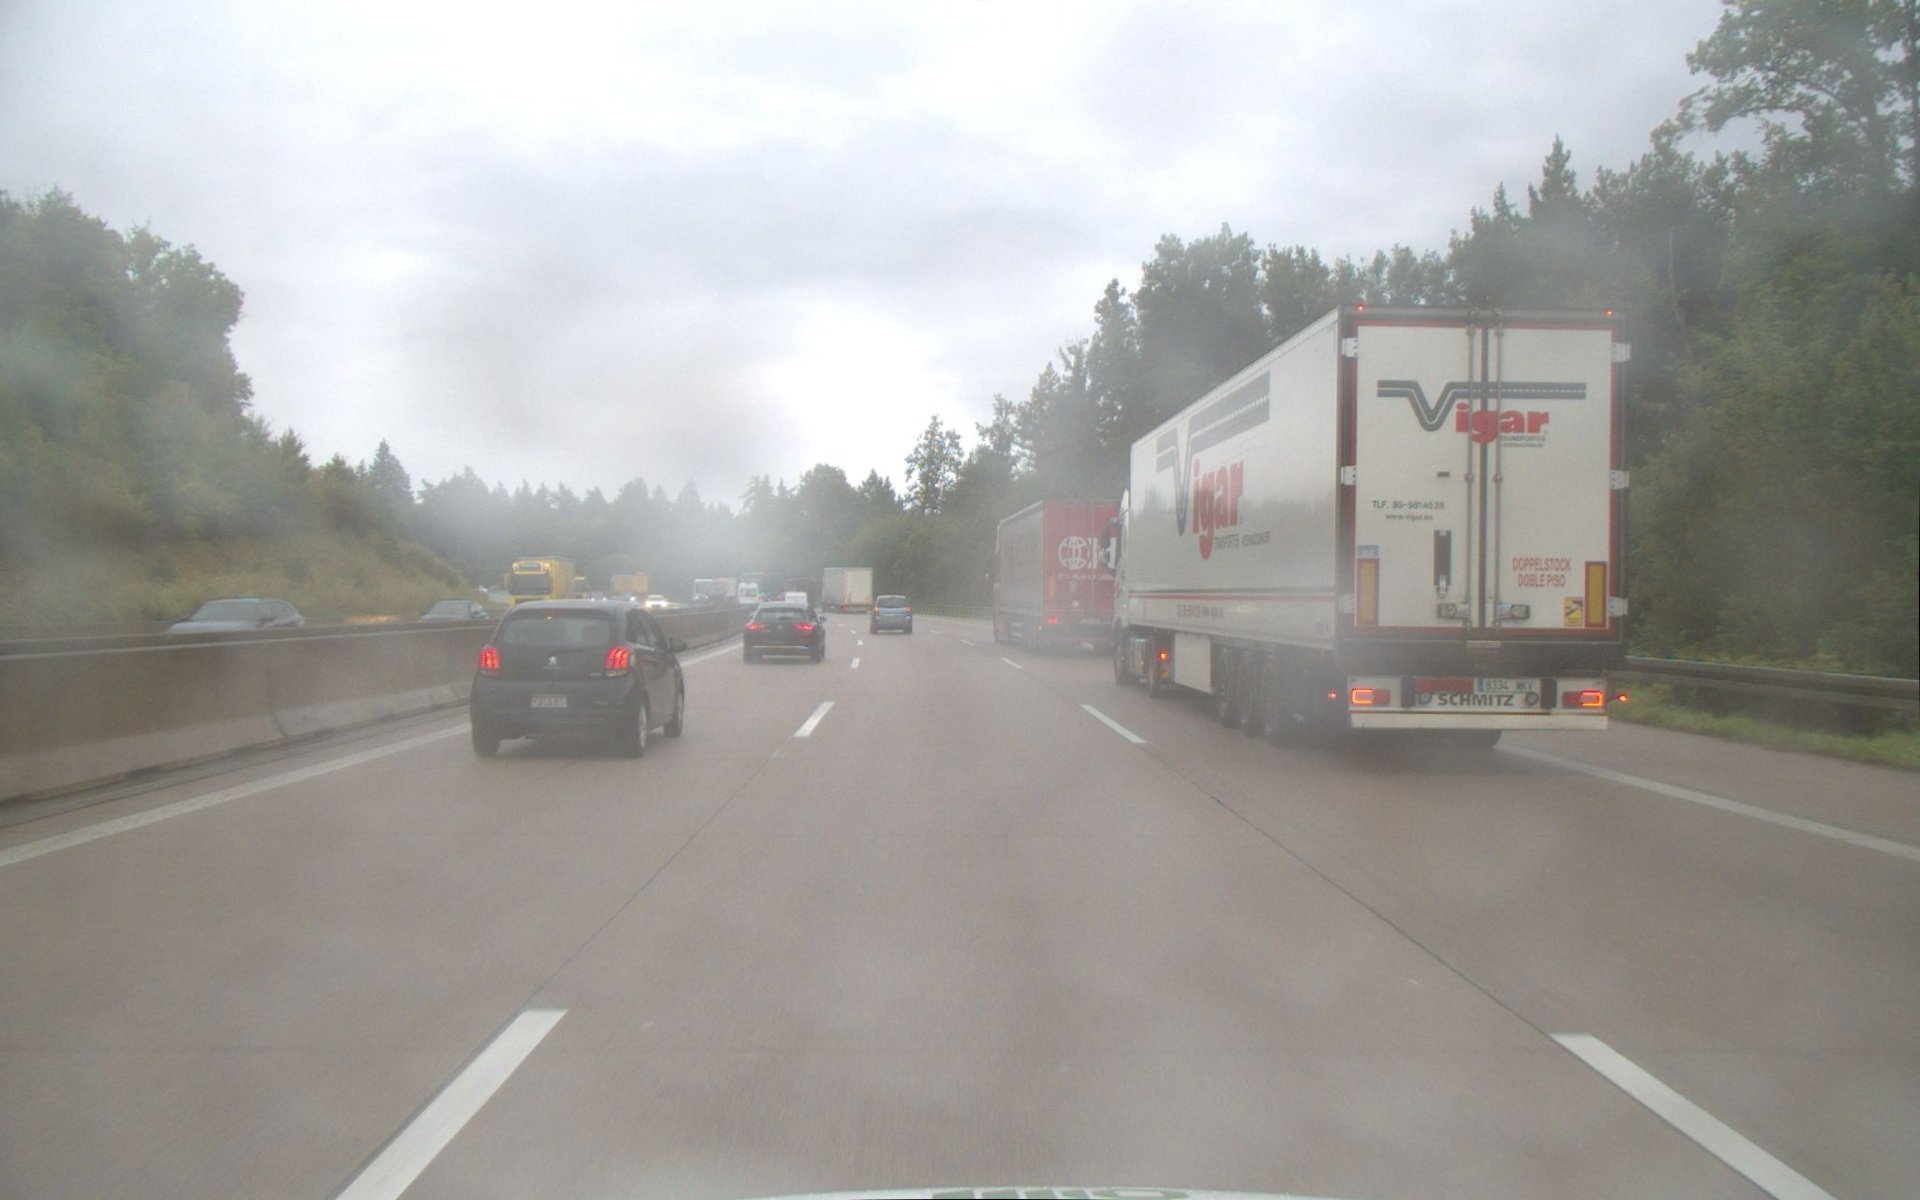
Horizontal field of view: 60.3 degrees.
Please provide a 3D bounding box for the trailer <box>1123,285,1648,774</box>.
[{"bbox_3d":[4.333,-0.619,21.011,2.679,4.175,13.676,0,0,-2],"label":"trailer"}]

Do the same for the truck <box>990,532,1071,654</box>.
[{"bbox_3d":[2.394,-0.239,57.817,2.327,4.023,6.157,1,0,-2],"label":"truck"}]

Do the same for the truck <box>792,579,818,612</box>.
[{"bbox_3d":[-14.439,-0.412,154.015,2.226,2.937,7.892,1,0,-6],"label":"truck"}]

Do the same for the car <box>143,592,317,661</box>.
[{"bbox_3d":[-16.052,0.559,36.630,1.765,1.357,4.564,2,0,0],"label":"car"}]

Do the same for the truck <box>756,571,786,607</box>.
[{"bbox_3d":[-23.156,-1.362,202.413,3.306,4.203,10.417,1,1,-8],"label":"truck"}]

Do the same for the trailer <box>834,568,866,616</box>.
[{"bbox_3d":[-10.071,-0.798,151.078,2.373,4.139,12.039,1,1,-6],"label":"trailer"}]

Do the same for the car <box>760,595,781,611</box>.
[{"bbox_3d":[-19.782,0.323,172.555,1.847,1.499,3.991,2,0,-10],"label":"car"}]

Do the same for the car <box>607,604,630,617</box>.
[{"bbox_3d":[-32.161,0.974,156.013,1.621,1.219,4.539,0,0,-6],"label":"car"}]

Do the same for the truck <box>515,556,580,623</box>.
[{"bbox_3d":[-25.200,-0.610,101.372,2.969,3.942,8.103,0,0,-8],"label":"truck"}]

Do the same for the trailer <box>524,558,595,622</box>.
[{"bbox_3d":[-26.111,-0.611,108.373,2.957,3.942,13.678,0,0,-7],"label":"trailer"}]

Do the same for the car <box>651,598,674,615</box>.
[{"bbox_3d":[-27.229,0.583,151.413,1.621,1.504,4.540,0,0,-5],"label":"car"}]

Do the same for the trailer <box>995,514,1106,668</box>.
[{"bbox_3d":[2.517,-0.231,49.890,2.322,4.023,12.516,1,0,-1],"label":"trailer"}]

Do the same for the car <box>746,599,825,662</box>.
[{"bbox_3d":[-4.158,0.703,39.876,1.522,1.375,3.683,2,0,-1],"label":"car"}]

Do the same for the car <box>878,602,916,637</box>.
[{"bbox_3d":[-2.727,0.821,71.352,1.523,1.375,3.681,2,0,-3],"label":"car"}]

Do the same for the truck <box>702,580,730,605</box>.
[{"bbox_3d":[-31.458,-0.976,213.265,3.028,2.956,7.881,1,1,-12],"label":"truck"}]

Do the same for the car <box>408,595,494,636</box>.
[{"bbox_3d":[-17.744,0.507,57.866,1.766,1.357,4.562,1,0,-3],"label":"car"}]

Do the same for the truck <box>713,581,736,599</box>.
[{"bbox_3d":[-33.094,-1.374,232.607,2.920,2.350,6.652,2,0,-10],"label":"truck"}]

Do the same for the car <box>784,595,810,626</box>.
[{"bbox_3d":[-11.145,0.674,112.894,1.693,2.049,3.651,0,0,-8],"label":"car"}]

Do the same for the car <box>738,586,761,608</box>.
[{"bbox_3d":[-20.090,-0.300,157.523,1.957,2.095,3.990,0,0,-10],"label":"car"}]

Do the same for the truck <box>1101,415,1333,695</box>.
[{"bbox_3d":[4.101,-0.671,27.711,2.742,4.175,5.965,0,0,-3],"label":"truck"}]

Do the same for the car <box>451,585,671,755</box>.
[{"bbox_3d":[-3.928,0.625,16.814,1.651,1.488,3.679,2,0,-6],"label":"car"}]
